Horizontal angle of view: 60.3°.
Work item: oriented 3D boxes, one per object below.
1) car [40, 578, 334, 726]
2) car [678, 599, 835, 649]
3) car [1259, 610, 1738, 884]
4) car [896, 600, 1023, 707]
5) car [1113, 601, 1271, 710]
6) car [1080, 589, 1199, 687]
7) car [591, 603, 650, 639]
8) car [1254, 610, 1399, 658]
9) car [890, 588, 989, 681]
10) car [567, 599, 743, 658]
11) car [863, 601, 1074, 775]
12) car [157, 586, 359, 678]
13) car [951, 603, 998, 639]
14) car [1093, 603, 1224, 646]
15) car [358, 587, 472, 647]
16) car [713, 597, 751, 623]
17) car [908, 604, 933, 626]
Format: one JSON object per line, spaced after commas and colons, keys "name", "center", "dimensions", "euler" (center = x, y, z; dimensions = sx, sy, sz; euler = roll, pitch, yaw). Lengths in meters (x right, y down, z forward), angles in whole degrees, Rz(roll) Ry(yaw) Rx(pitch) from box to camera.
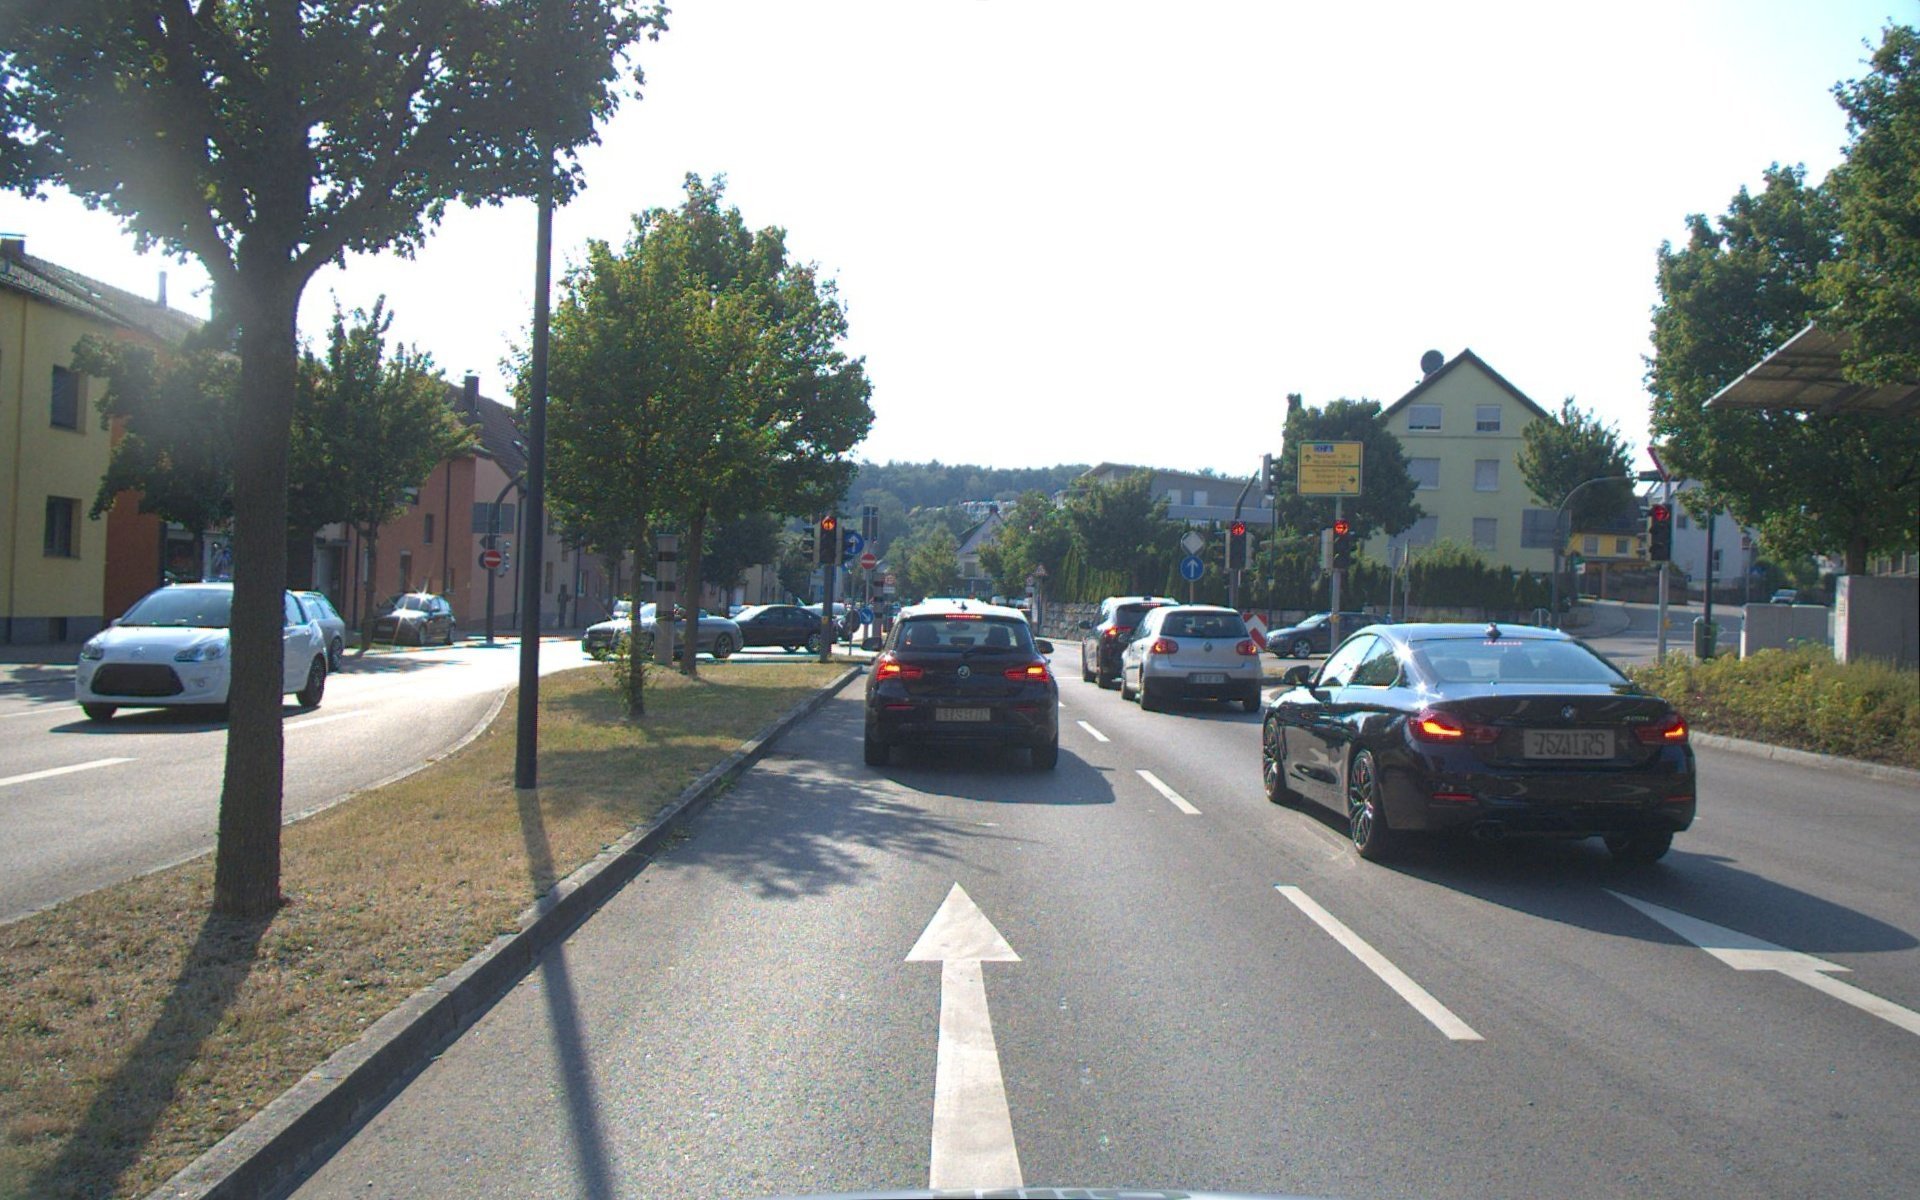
{"name": "car", "center": [-8.864, 0.548, 19.351], "dimensions": [1.765, 1.523, 3.952], "euler": [1, 0, -4]}
{"name": "car", "center": [-6.241, 0.743, 51.060], "dimensions": [4.602, 1.446, 1.822], "euler": [1, 0, -41]}
{"name": "car", "center": [3.268, 0.798, 11.006], "dimensions": [1.779, 1.413, 4.347], "euler": [1, 0, 0]}
{"name": "car", "center": [0.005, 0.763, 25.509], "dimensions": [1.779, 1.476, 4.241], "euler": [1, 0, 0]}
{"name": "car", "center": [3.398, 0.768, 24.958], "dimensions": [1.779, 1.471, 4.347], "euler": [1, 0, 0]}
{"name": "car", "center": [3.320, 0.673, 31.278], "dimensions": [1.779, 1.695, 4.347], "euler": [1, 0, 0]}
{"name": "car", "center": [-15.915, 0.969, 77.740], "dimensions": [1.884, 1.624, 4.000], "euler": [1, 0, 0]}
{"name": "car", "center": [11.420, 1.059, 51.650], "dimensions": [4.100, 1.411, 1.646], "euler": [1, 0, -10]}
{"name": "car", "center": [-0.360, 0.635, 32.320], "dimensions": [1.779, 1.670, 4.241], "euler": [1, 0, 0]}
{"name": "car", "center": [-7.593, 0.713, 41.575], "dimensions": [1.749, 1.373, 4.465], "euler": [1, 0, 33]}
{"name": "car", "center": [0.083, 0.750, 16.152], "dimensions": [1.754, 1.439, 4.347], "euler": [1, 0, 0]}
{"name": "car", "center": [-12.372, 0.527, 29.489], "dimensions": [1.652, 1.488, 4.710], "euler": [1, 0, -1]}
{"name": "car", "center": [0.688, 1.032, 82.898], "dimensions": [1.854, 1.732, 4.517], "euler": [0, 0, -7]}
{"name": "car", "center": [7.458, 0.903, 62.366], "dimensions": [4.565, 1.511, 1.861], "euler": [1, 0, 35]}
{"name": "car", "center": [-15.760, 0.476, 48.033], "dimensions": [1.805, 1.579, 4.001], "euler": [3, 0, 1]}
{"name": "car", "center": [-14.847, 0.648, 107.958], "dimensions": [1.884, 1.624, 4.000], "euler": [1, 0, 0]}
{"name": "car", "center": [-3.007, 1.155, 126.706], "dimensions": [1.885, 1.624, 3.999], "euler": [1, 0, -1]}
